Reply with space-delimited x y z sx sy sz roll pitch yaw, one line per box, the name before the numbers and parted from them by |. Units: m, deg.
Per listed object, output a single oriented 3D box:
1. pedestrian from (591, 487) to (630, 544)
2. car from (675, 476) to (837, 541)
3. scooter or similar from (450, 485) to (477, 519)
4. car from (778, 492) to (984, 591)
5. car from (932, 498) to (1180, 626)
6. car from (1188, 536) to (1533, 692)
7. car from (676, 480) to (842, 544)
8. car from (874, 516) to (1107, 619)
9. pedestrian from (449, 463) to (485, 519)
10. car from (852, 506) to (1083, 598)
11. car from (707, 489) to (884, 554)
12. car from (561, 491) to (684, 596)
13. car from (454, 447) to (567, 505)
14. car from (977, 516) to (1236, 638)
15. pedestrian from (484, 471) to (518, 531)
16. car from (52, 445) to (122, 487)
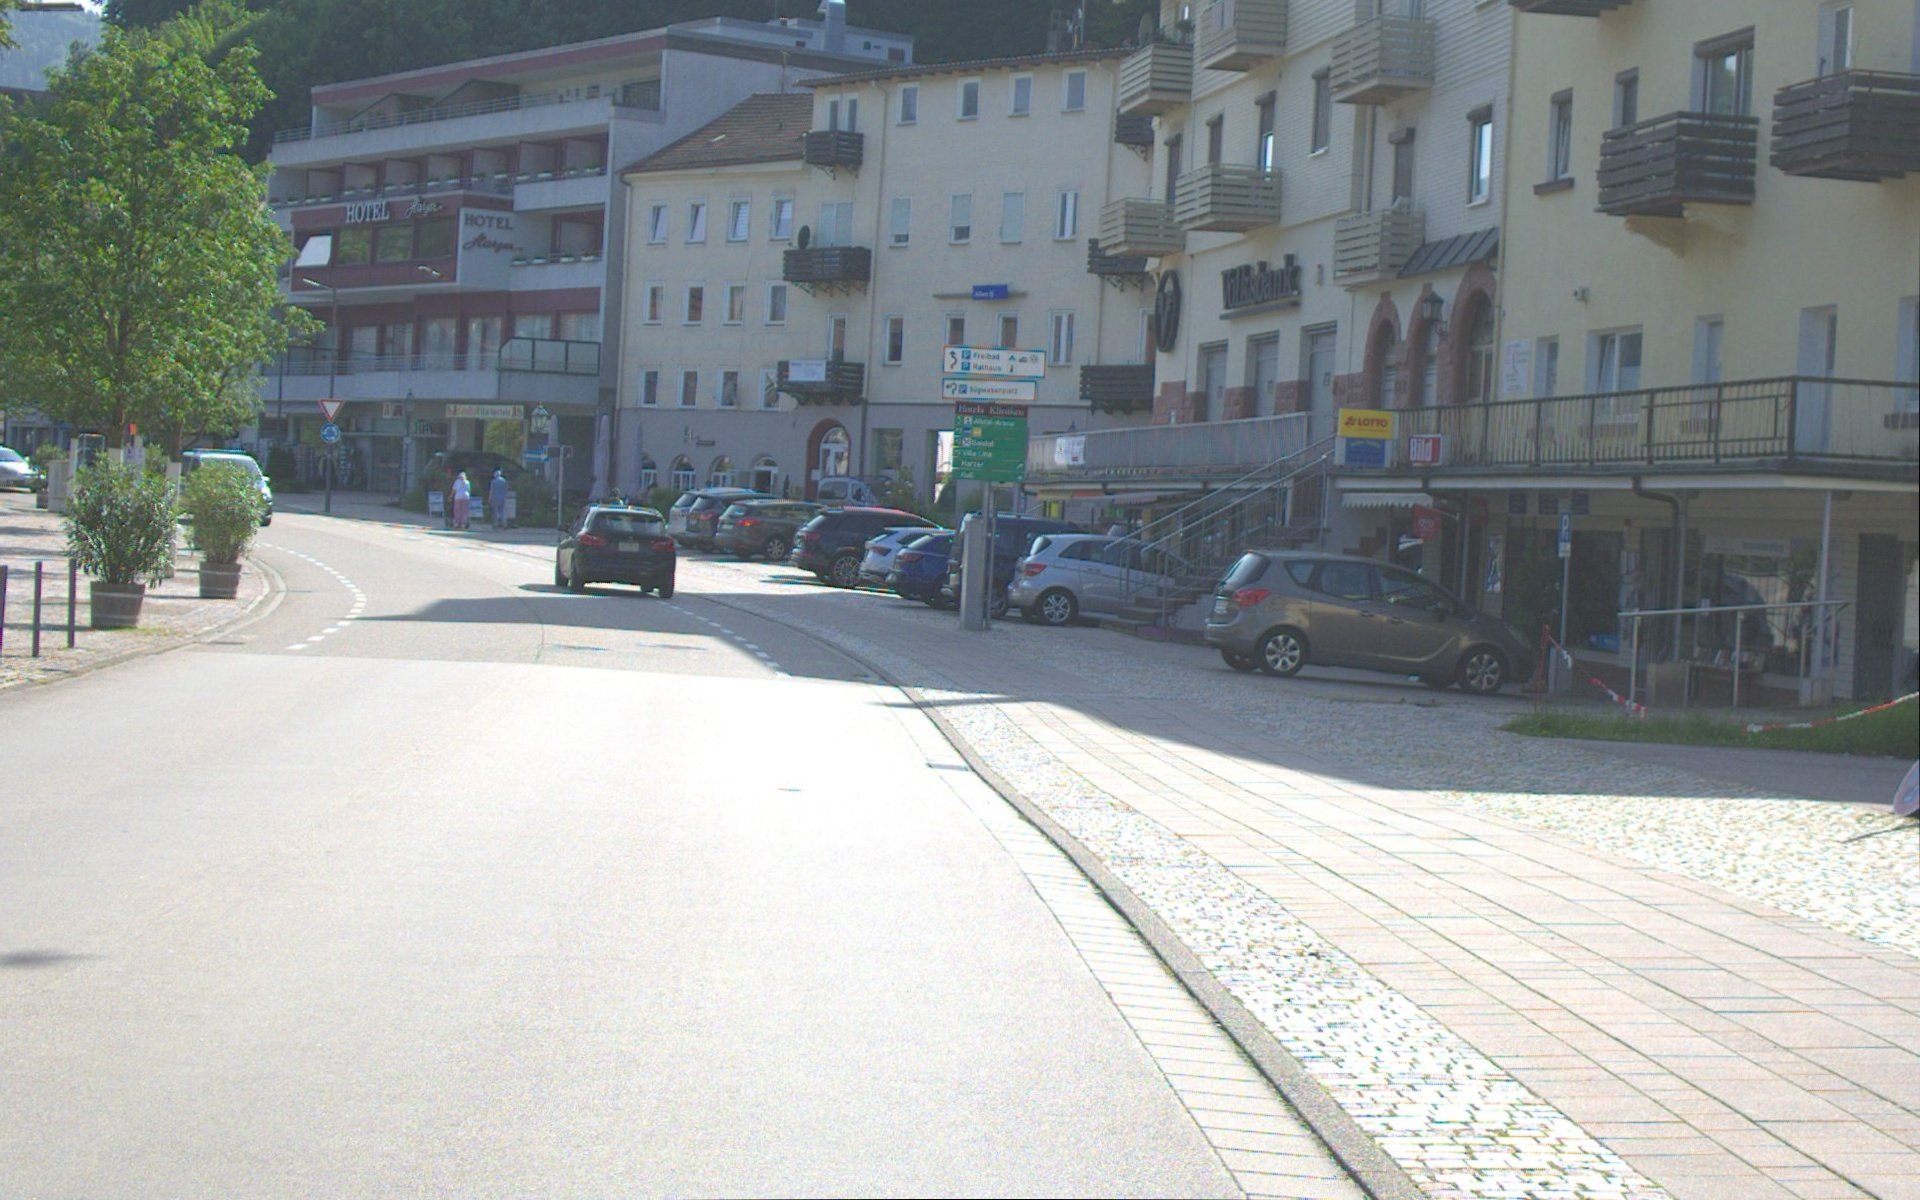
pedestrian | -8.877 -2.147 87.263 0.735 1.437 0.633 0 3 -39
car | -5.369 -2.415 90.524 3.860 1.607 1.773 0 4 -29
scooter or similar | -14.664 -2.899 101.630 0.596 0.947 0.474 3 2 -31
car | -1.717 -1.260 73.866 4.083 1.660 1.773 6 1 -8
car | 1.650 -0.668 59.876 3.908 1.798 1.858 6 1 -8
car | 5.054 0.172 43.562 3.858 1.549 1.761 5 1 -11
car | -5.169 -2.254 88.441 3.860 1.544 1.773 0 4 -29
car | 0.533 -0.594 62.445 3.908 1.456 1.736 6 1 -8
pedestrian | -14.559 -3.211 101.478 0.757 1.588 0.628 3 2 -31
car | 0.126 -0.954 68.981 4.356 1.456 1.773 5 0 -6
car | -4.089 -1.948 85.513 4.009 1.511 1.773 0 4 -29
car | -5.994 -1.024 60.761 1.727 1.569 3.754 4 3 -11
car | -14.512 -4.004 110.981 3.163 1.657 1.595 3 2 -29
car | 2.417 -0.395 57.176 3.908 1.583 1.775 6 2 -8
pedestrian | -13.539 -2.917 101.343 0.669 1.722 0.708 3 2 -31
car | -38.426 -5.917 151.270 1.676 1.615 4.000 3 2 -33
